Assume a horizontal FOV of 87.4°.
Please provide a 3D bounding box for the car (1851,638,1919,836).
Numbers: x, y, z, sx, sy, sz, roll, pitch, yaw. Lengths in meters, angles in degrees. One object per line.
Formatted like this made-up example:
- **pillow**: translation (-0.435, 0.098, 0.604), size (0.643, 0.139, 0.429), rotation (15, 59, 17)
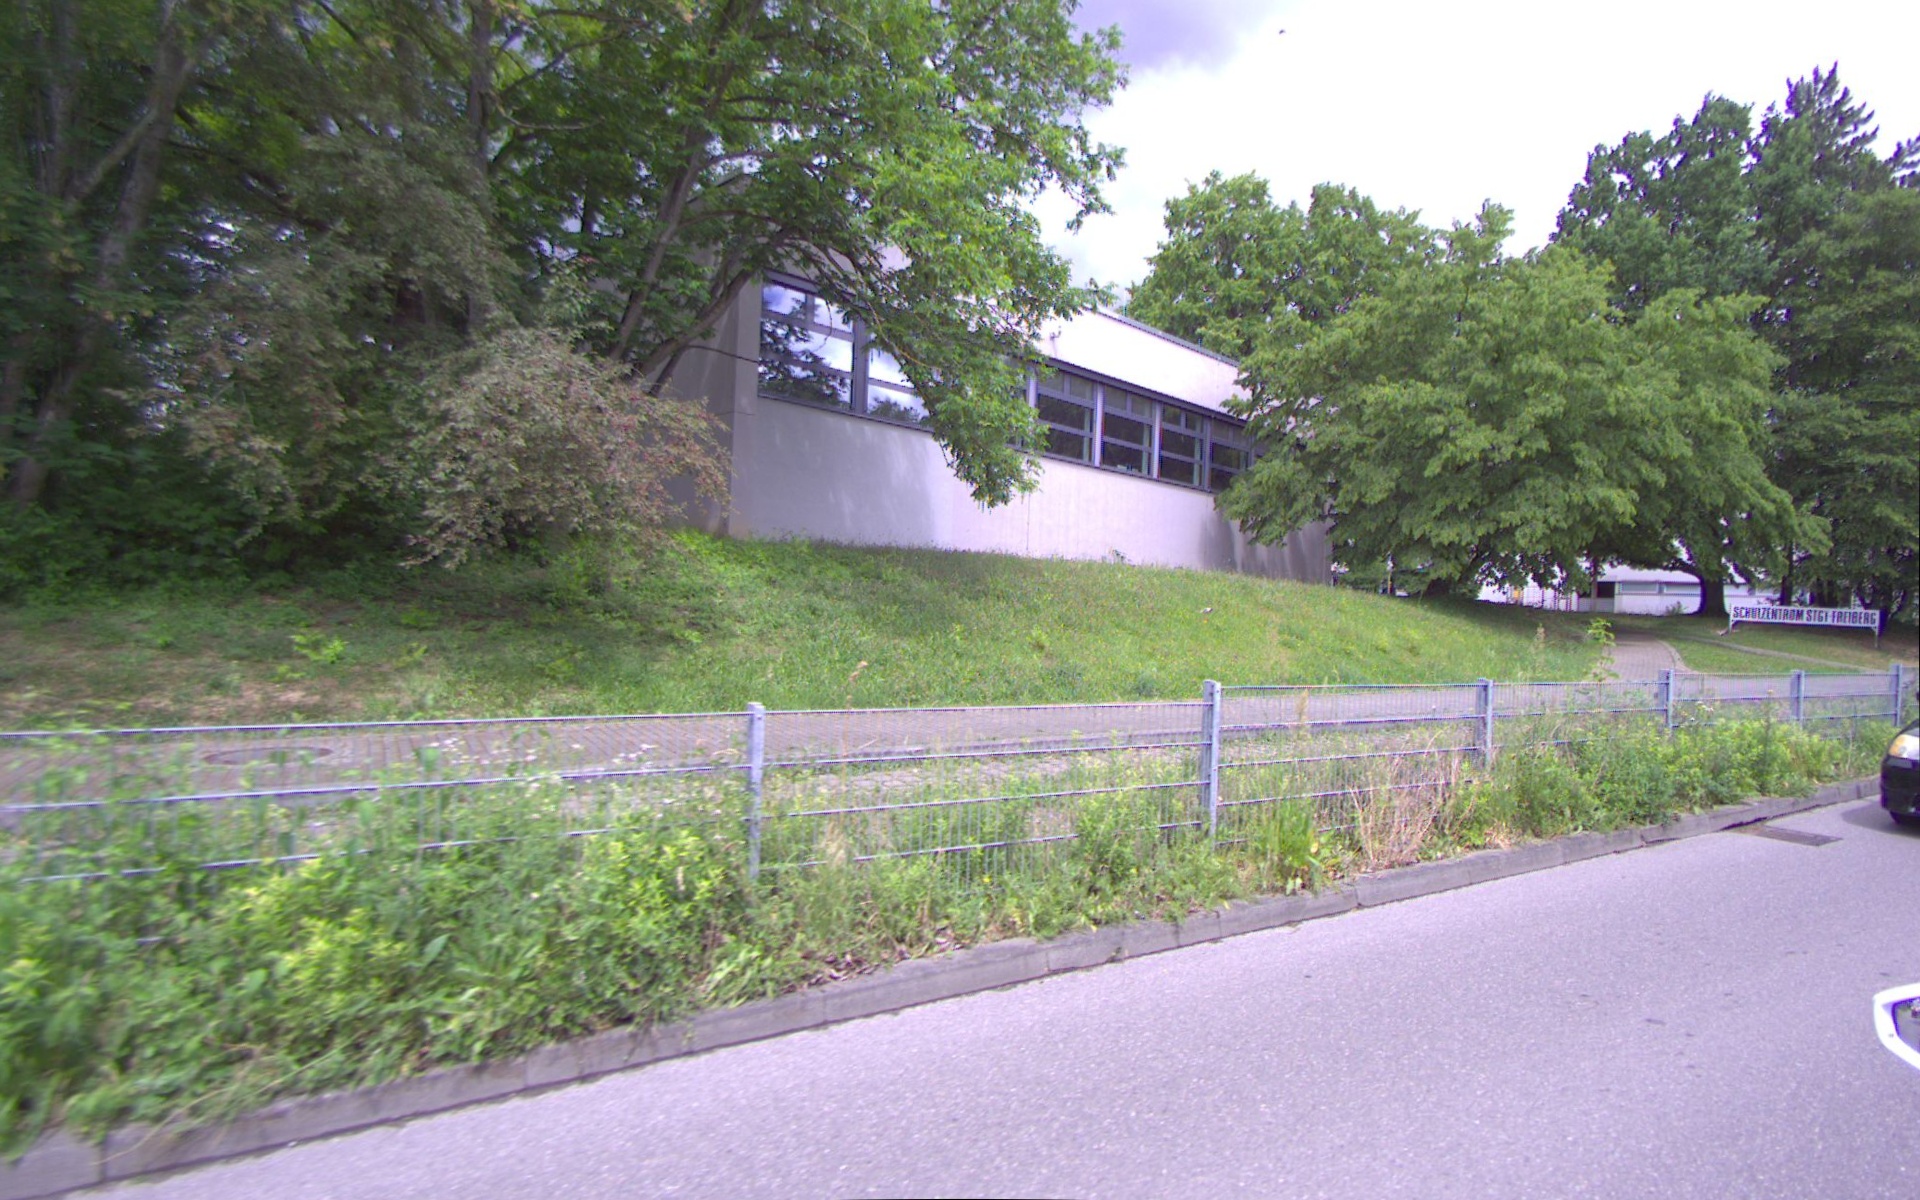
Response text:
- **car**: translation (8.665, 1.007, 7.622), size (4.046, 1.367, 1.684), rotation (1, 0, -31)
